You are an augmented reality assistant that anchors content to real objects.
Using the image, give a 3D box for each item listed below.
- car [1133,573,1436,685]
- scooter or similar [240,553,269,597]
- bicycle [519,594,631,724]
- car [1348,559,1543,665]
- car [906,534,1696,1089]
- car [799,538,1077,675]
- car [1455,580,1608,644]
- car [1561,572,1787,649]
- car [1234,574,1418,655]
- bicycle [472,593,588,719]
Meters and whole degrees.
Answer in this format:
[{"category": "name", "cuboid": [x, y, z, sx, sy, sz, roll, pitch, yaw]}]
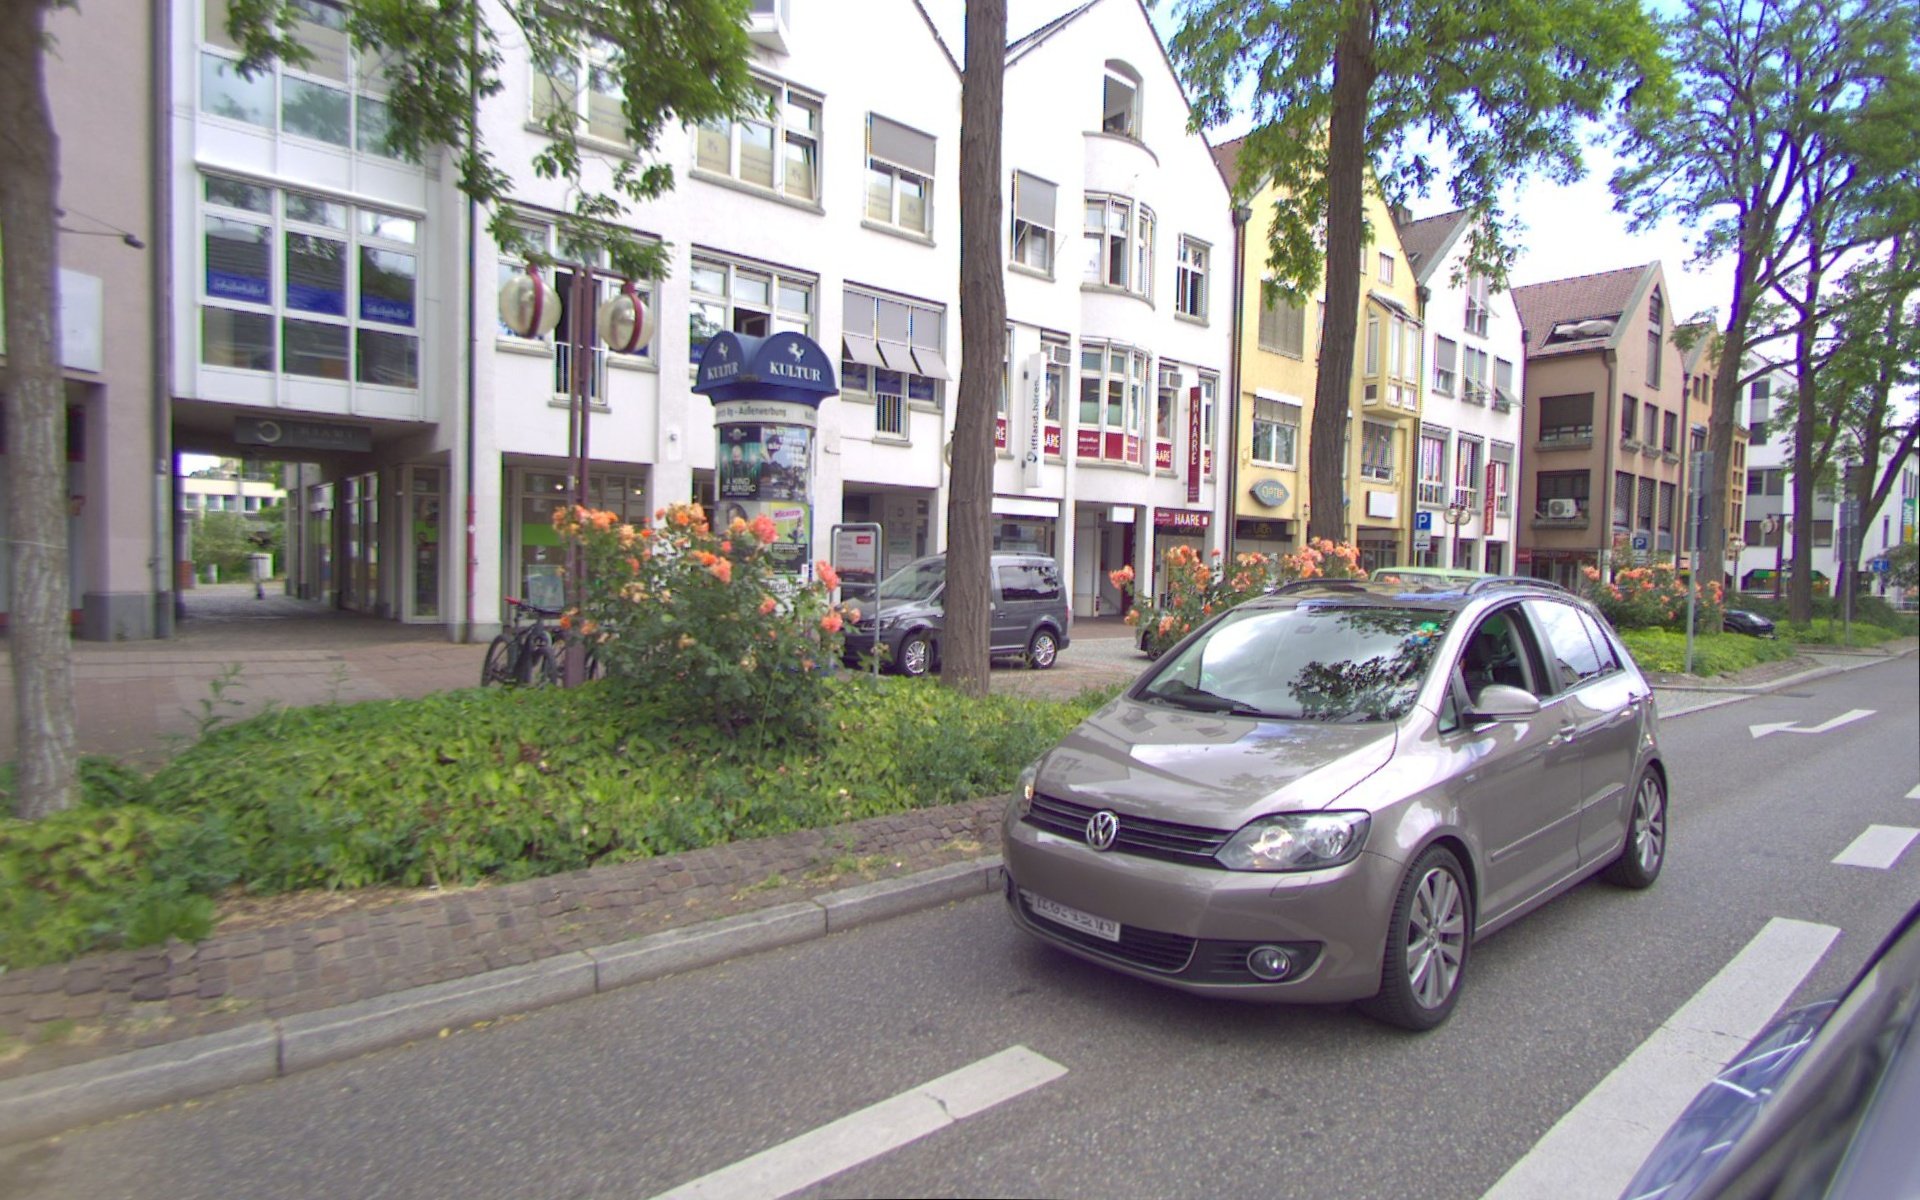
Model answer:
[{"category": "car", "cuboid": [5.297, 0.366, 17.109, 1.709, 1.471, 4.649, 0, 3, -40]}, {"category": "scooter or similar", "cuboid": [-19.580, -0.699, 28.087, 0.489, 1.208, 1.502, 0, 2, -42]}, {"category": "bicycle", "cuboid": [-3.545, 0.499, 9.432, 0.399, 1.061, 1.569, 1, 2, 2]}, {"category": "car", "cuboid": [10.154, 0.164, 20.992, 4.673, 1.899, 1.997, -1, 4, -43]}, {"category": "car", "cuboid": [1.846, 0.578, 4.796, 3.929, 1.549, 1.800, 0, 0, -40]}, {"category": "car", "cuboid": [-0.237, 0.037, 15.727, 4.189, 1.826, 1.737, 0, 3, -43]}, {"category": "car", "cuboid": [13.955, 0.212, 24.603, 4.673, 1.325, 1.841, -1, 4, -42]}, {"category": "car", "cuboid": [19.083, 0.215, 27.187, 4.737, 1.699, 1.970, 5, 3, 42]}, {"category": "car", "cuboid": [8.355, 0.231, 22.911, 4.675, 1.566, 1.996, -1, 4, -43]}, {"category": "bicycle", "cuboid": [-4.121, 0.494, 9.800, 0.399, 1.061, 1.569, 1, 2, 2]}]
